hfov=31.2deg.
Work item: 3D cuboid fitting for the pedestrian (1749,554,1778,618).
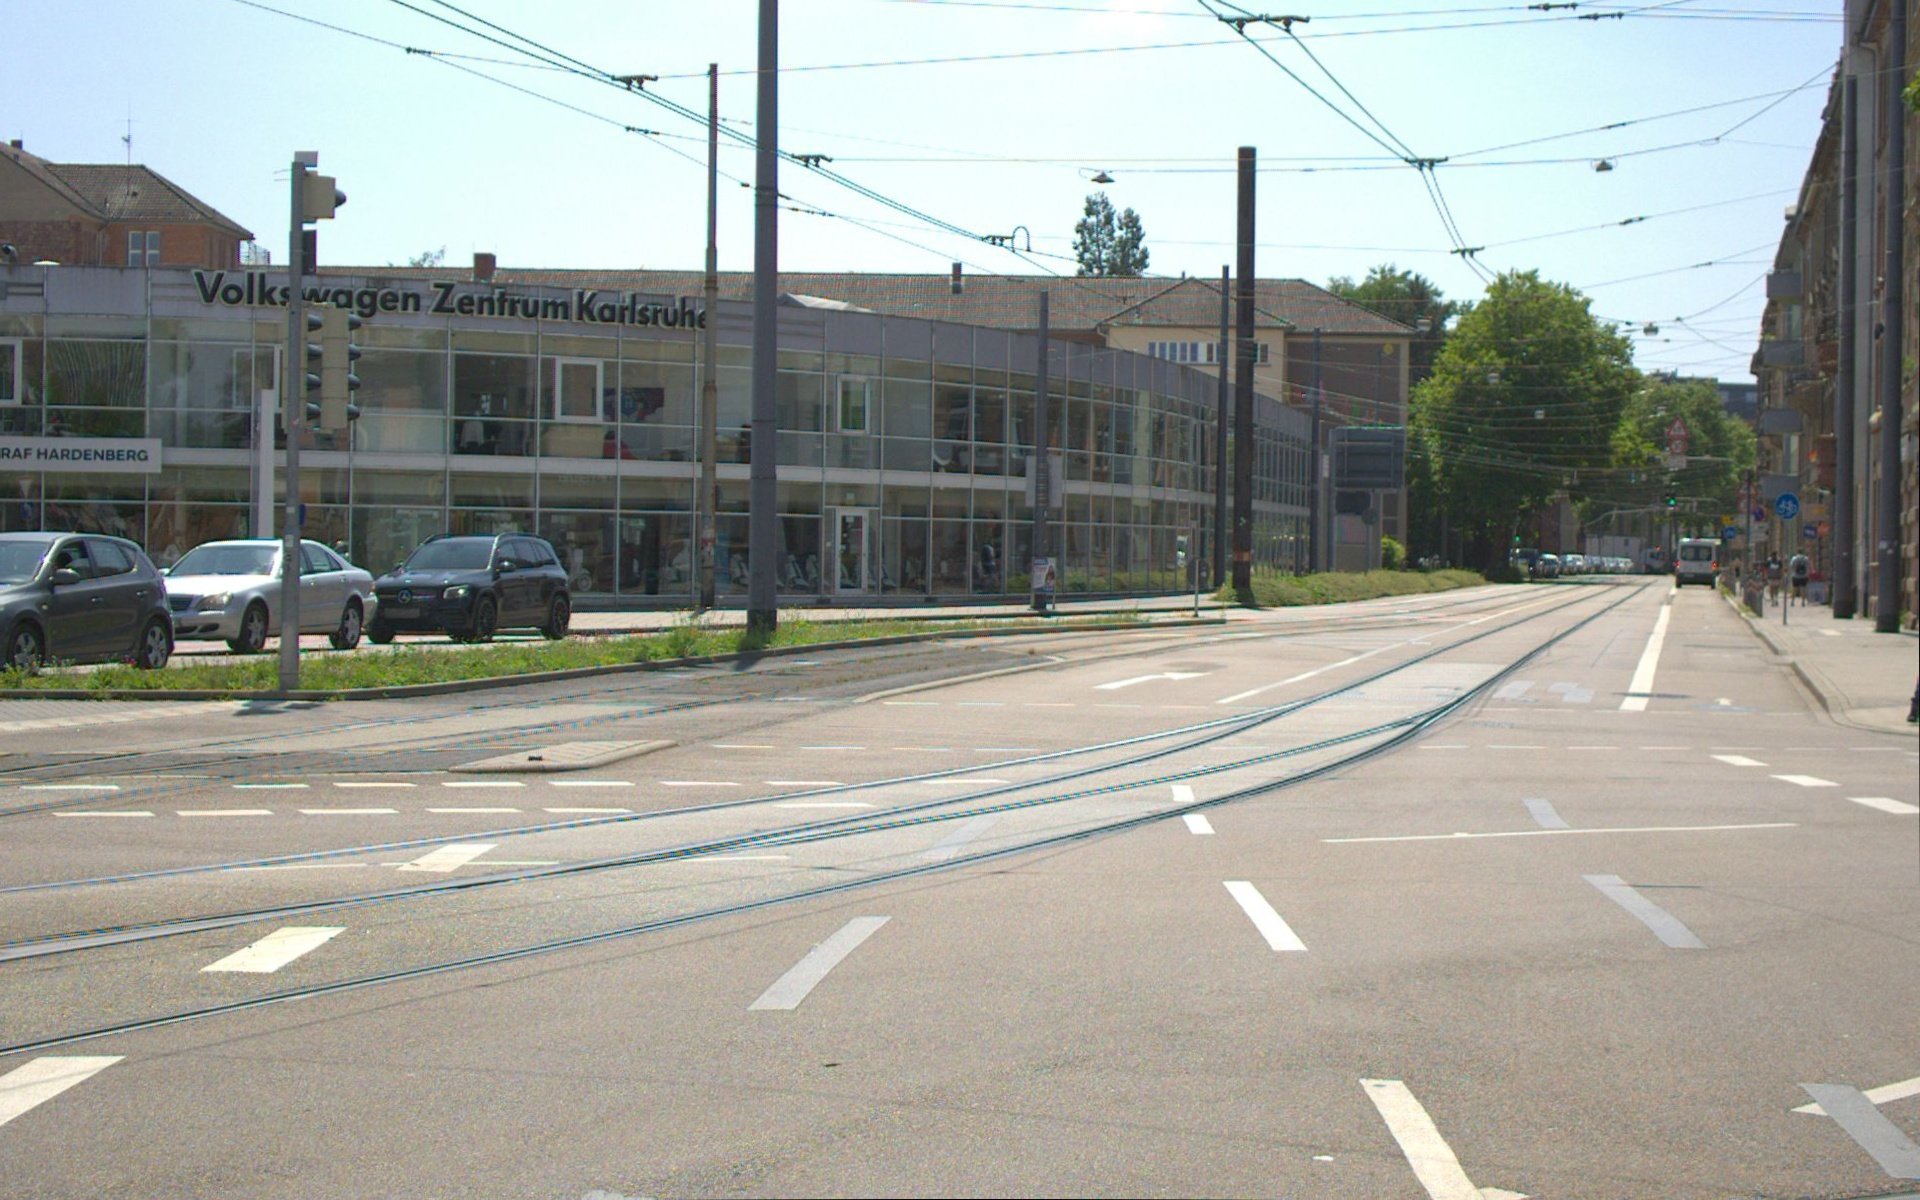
[{"bbox_3d":[25.659,-0.439,109.819,0.768,2.007,0.663,3,0,9],"label":"pedestrian"}]

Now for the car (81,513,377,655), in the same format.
[{"bbox_3d":[-9.580,-0.233,45.447,1.995,1.733,4.540,1,1,14],"label":"car"}]

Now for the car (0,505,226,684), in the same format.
[{"bbox_3d":[-9.209,-0.104,33.654,1.995,1.632,4.843,1,1,14],"label":"car"}]

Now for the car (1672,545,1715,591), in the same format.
[{"bbox_3d":[37.831,-1.620,177.363,1.995,2.173,4.367,3,0,12],"label":"car"}]

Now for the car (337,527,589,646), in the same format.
[{"bbox_3d":[-7.500,-0.235,52.371,2.080,1.677,4.843,1,1,14],"label":"car"}]

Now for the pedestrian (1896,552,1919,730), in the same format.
[{"bbox_3d":[9.434,0.399,33.171,0.460,1.702,0.640,1,1,-18],"label":"pedestrian"}]

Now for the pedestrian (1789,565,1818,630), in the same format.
[{"bbox_3d":[26.934,-0.080,109.802,0.768,2.007,0.663,3,0,9],"label":"pedestrian"}]
